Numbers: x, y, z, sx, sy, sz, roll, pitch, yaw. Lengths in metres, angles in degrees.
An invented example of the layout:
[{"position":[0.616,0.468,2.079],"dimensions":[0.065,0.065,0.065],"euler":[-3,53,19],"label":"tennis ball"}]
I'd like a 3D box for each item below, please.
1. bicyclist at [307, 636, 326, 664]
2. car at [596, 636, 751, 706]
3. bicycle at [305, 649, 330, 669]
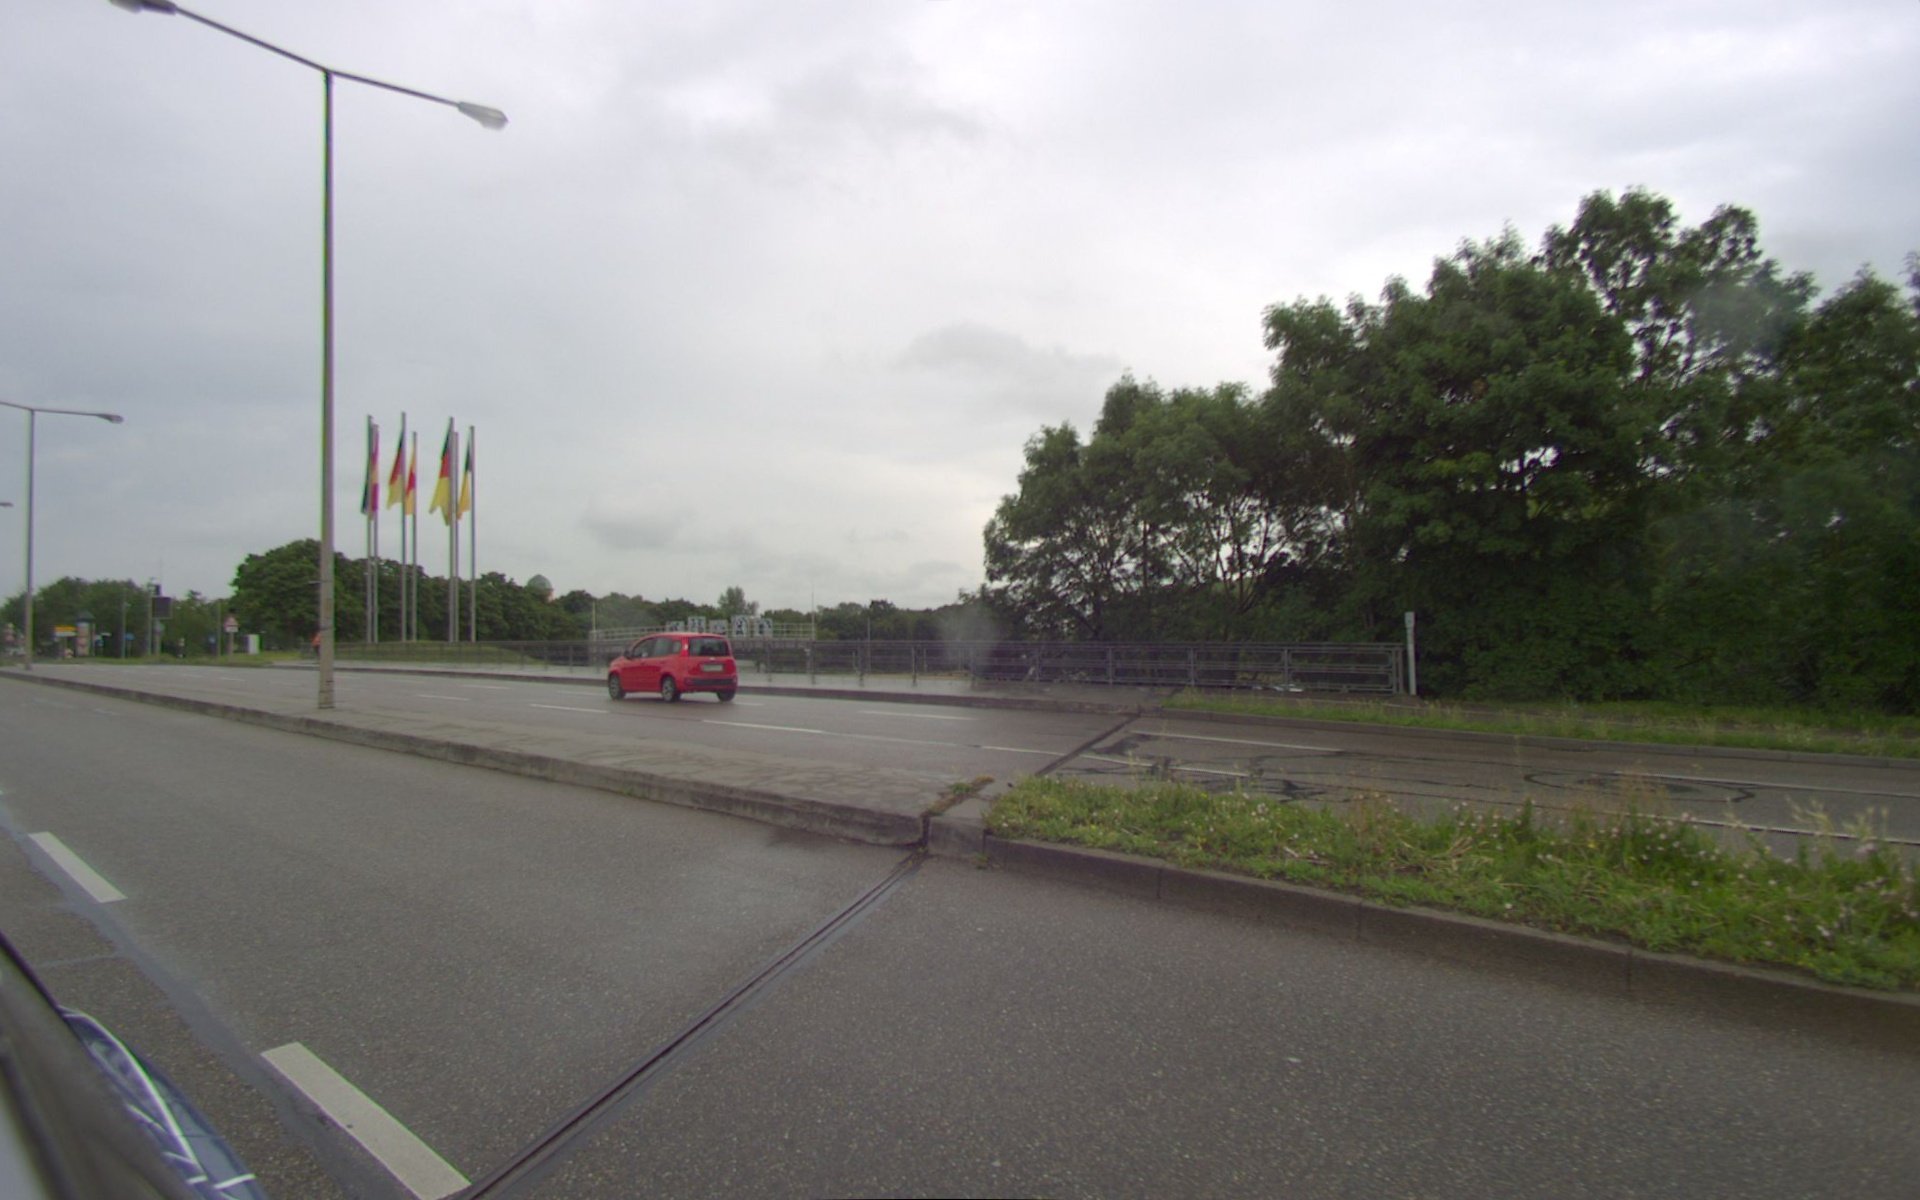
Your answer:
[{"position":[-35.751,2.770,56.249],"dimensions":[1.002,1.511,0.613],"euler":[-2,-1,41],"label":"bicyclist"},{"position":[-6.477,1.562,22.757],"dimensions":[3.555,1.459,1.643],"euler":[-2,-4,41],"label":"car"},{"position":[-35.731,3.262,56.247],"dimensions":[1.999,1.041,0.603],"euler":[-2,-1,41],"label":"bicycle"}]
